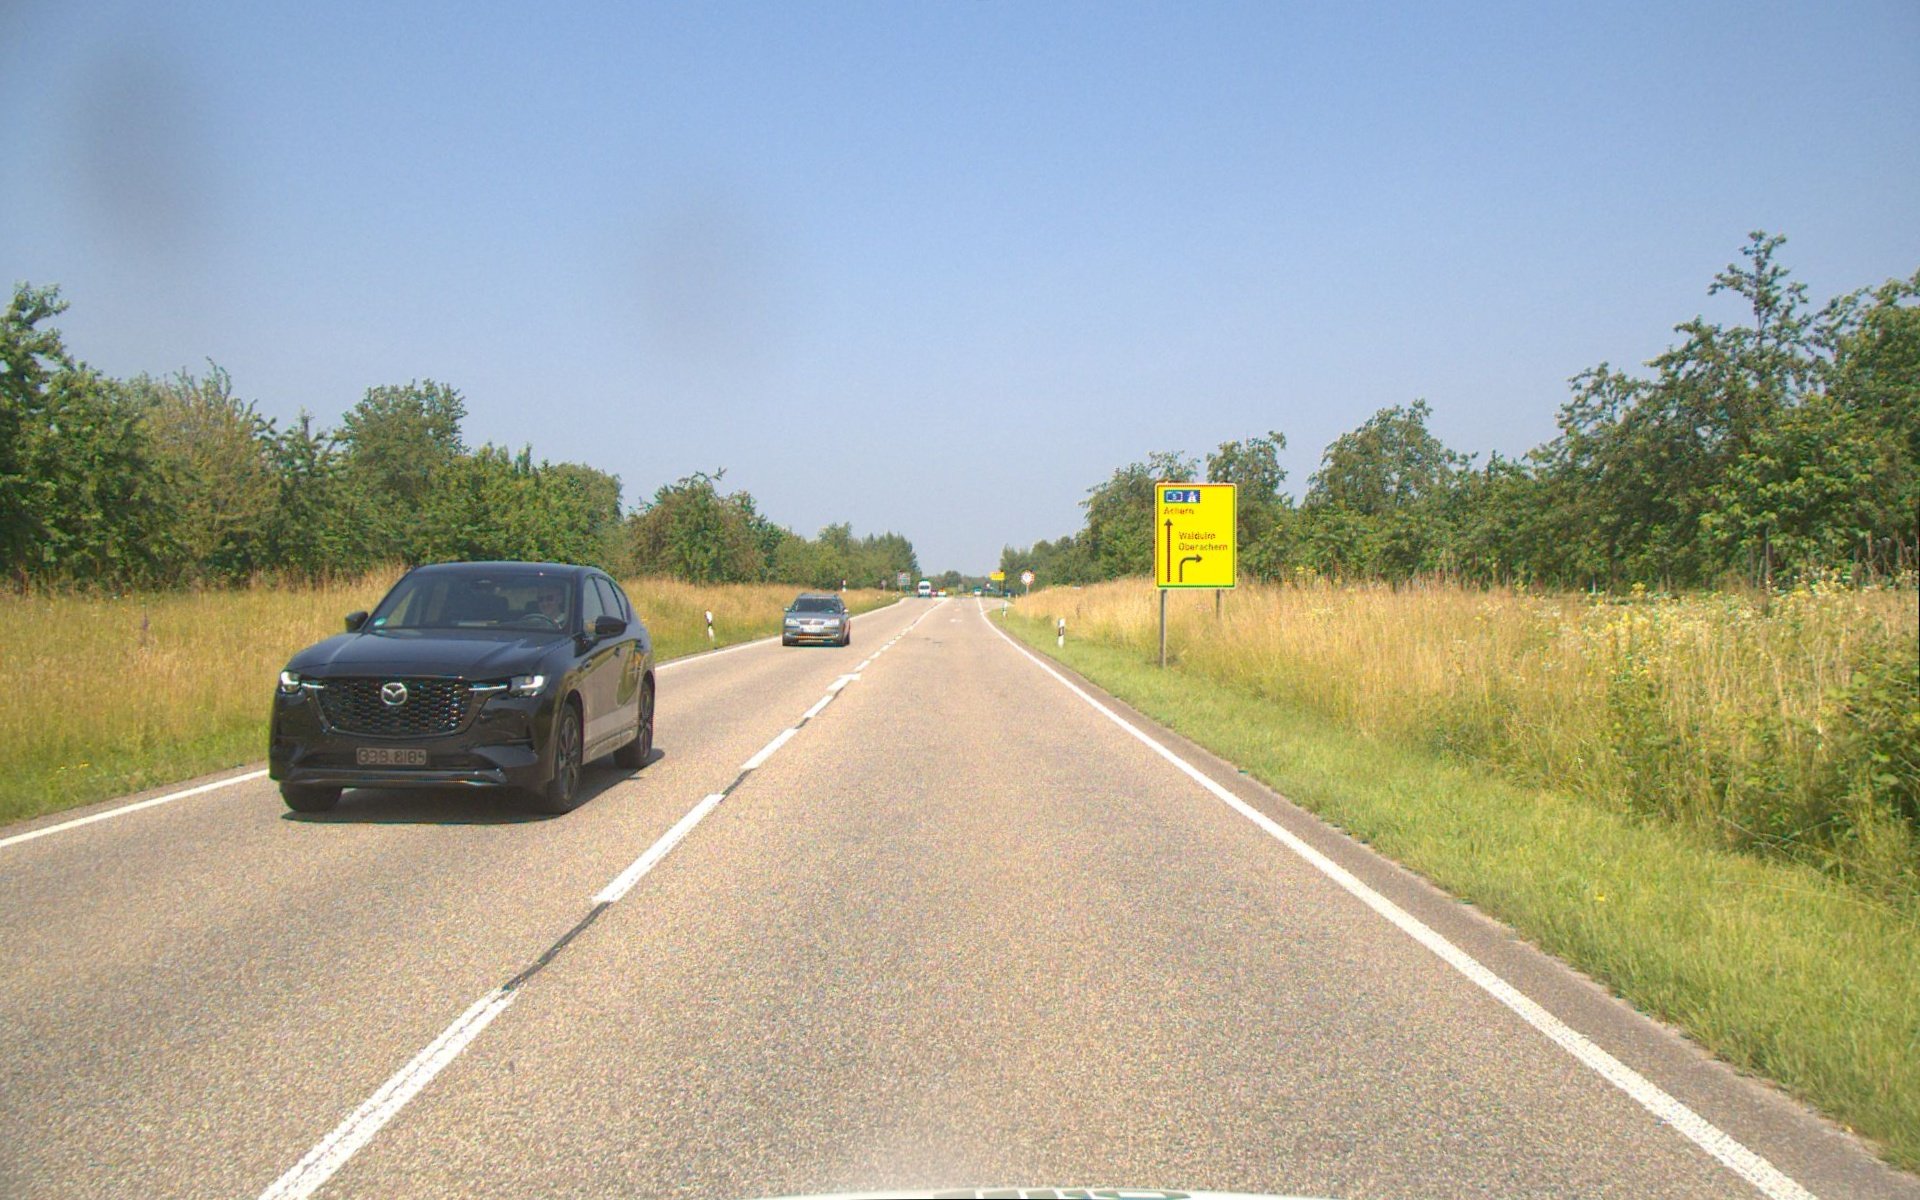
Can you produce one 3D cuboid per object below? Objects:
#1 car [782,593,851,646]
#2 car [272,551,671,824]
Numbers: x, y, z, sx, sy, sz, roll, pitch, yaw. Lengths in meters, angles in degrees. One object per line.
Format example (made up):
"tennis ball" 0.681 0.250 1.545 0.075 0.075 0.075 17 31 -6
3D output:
"car" -4.083 0.526 47.761 1.656 1.433 4.893 0 0 -1
"car" -3.454 0.543 12.601 1.799 1.707 4.409 0 0 -1
